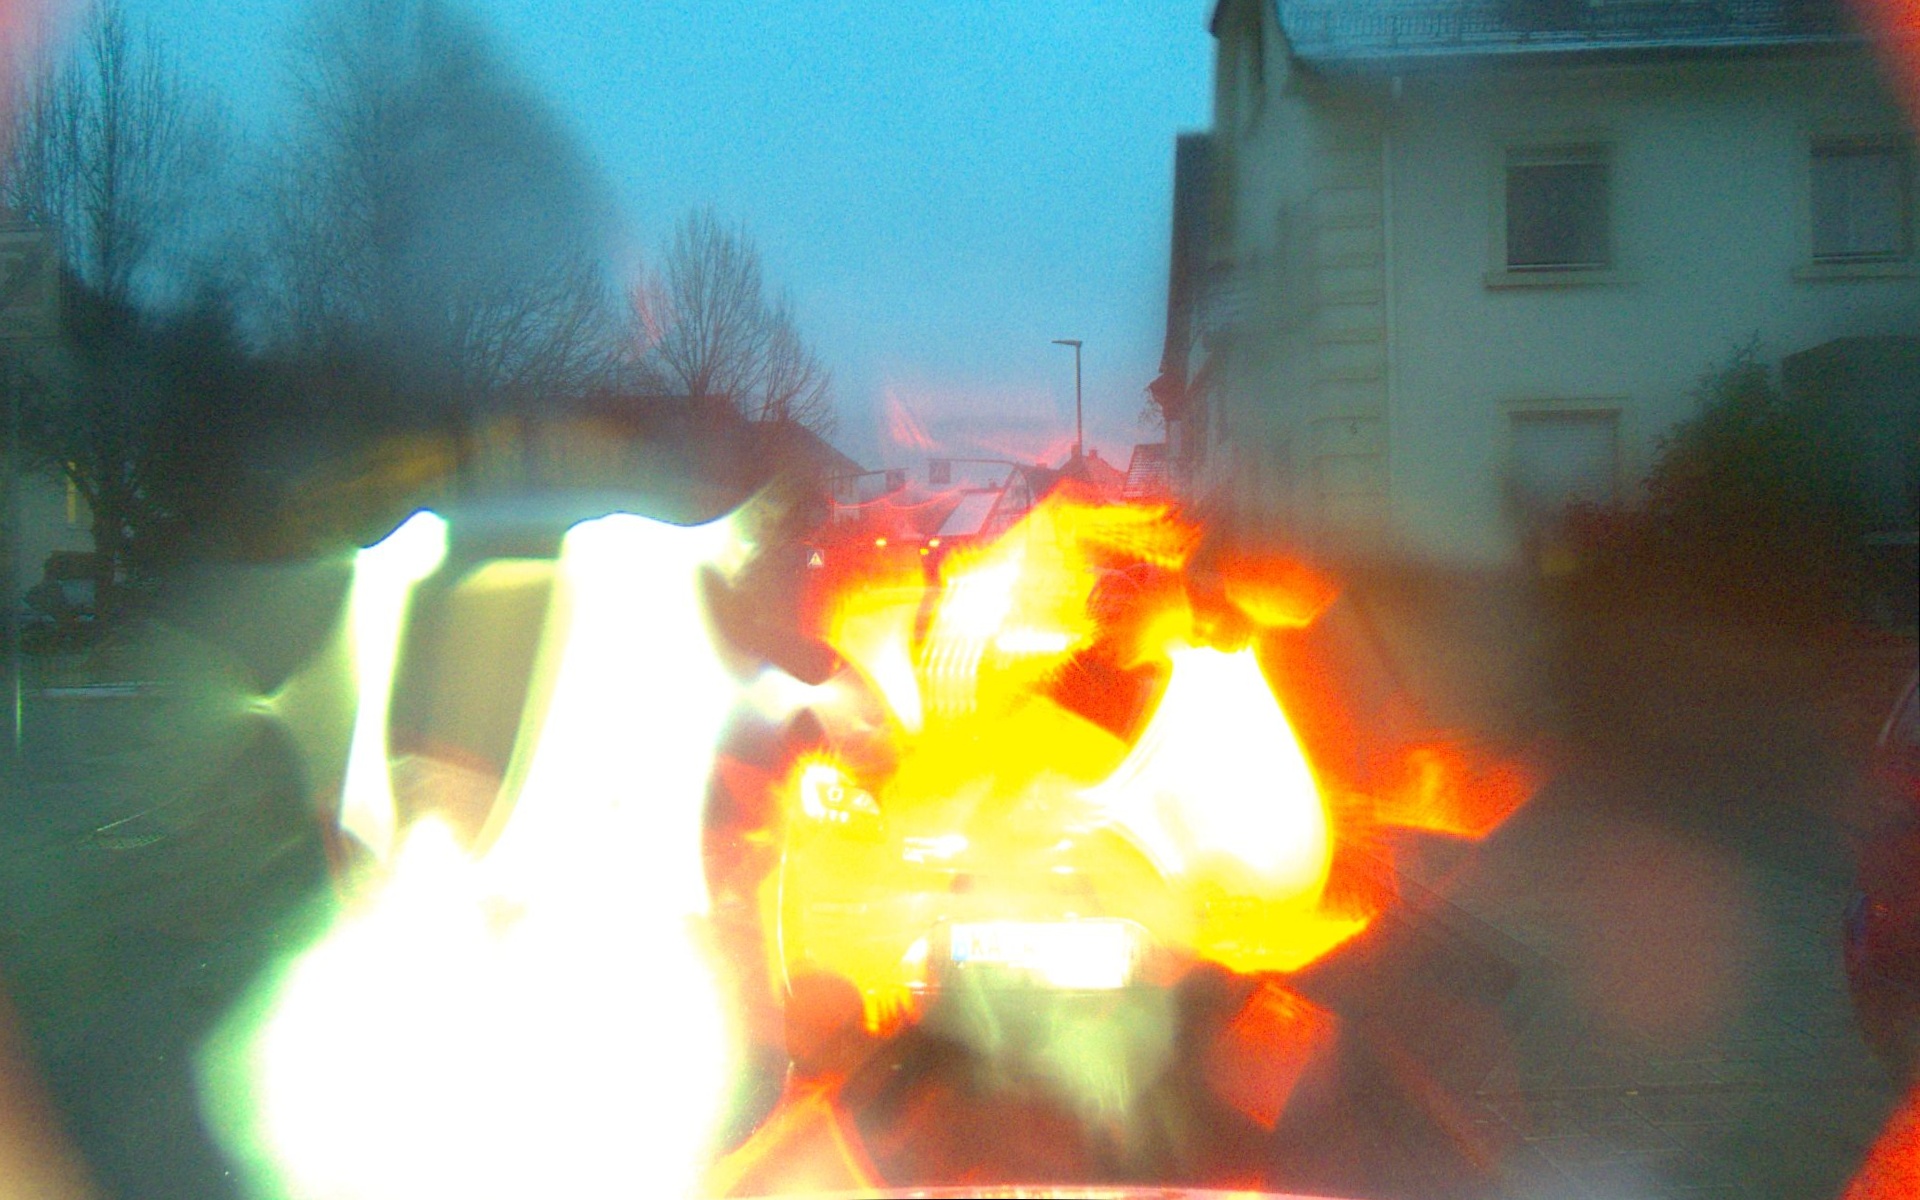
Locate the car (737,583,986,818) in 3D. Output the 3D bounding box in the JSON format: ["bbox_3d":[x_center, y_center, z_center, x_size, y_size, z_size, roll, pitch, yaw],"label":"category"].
[{"bbox_3d":[-0.699,0.638,12.366,1.605,1.507,3.270,0,1,-2],"label":"car"}]

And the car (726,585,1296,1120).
[{"bbox_3d":[0.126,0.709,6.363,1.604,1.507,3.378,0,0,-1],"label":"car"}]

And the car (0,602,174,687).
[{"bbox_3d":[-19.406,0.939,36.089,3.903,1.760,1.820,0,1,19],"label":"car"}]

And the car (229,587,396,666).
[{"bbox_3d":[-17.305,0.694,44.256,3.903,2.033,1.820,0,0,19],"label":"car"}]

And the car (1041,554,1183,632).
[{"bbox_3d":[4.421,-0.208,48.015,4.010,2.200,1.915,0,0,6],"label":"car"}]

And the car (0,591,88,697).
[{"bbox_3d":[-19.816,0.845,33.286,3.903,2.023,1.820,0,1,19],"label":"car"}]

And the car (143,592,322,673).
[{"bbox_3d":[-18.187,0.776,41.369,3.903,1.944,1.820,0,1,19],"label":"car"}]

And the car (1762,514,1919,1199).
[{"bbox_3d":[4.034,0.568,3.603,3.795,1.607,1.680,-1,0,-6],"label":"car"}]

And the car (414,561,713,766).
[{"bbox_3d":[-3.498,0.483,15.440,1.774,1.624,4.399,0,1,-1],"label":"car"}]

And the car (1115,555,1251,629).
[{"bbox_3d":[6.749,-0.254,50.324,4.010,2.189,1.915,0,0,6],"label":"car"}]

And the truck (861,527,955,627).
[{"bbox_3d":[-1.721,-0.760,56.312,2.954,3.183,7.998,0,0,-1],"label":"truck"}]
